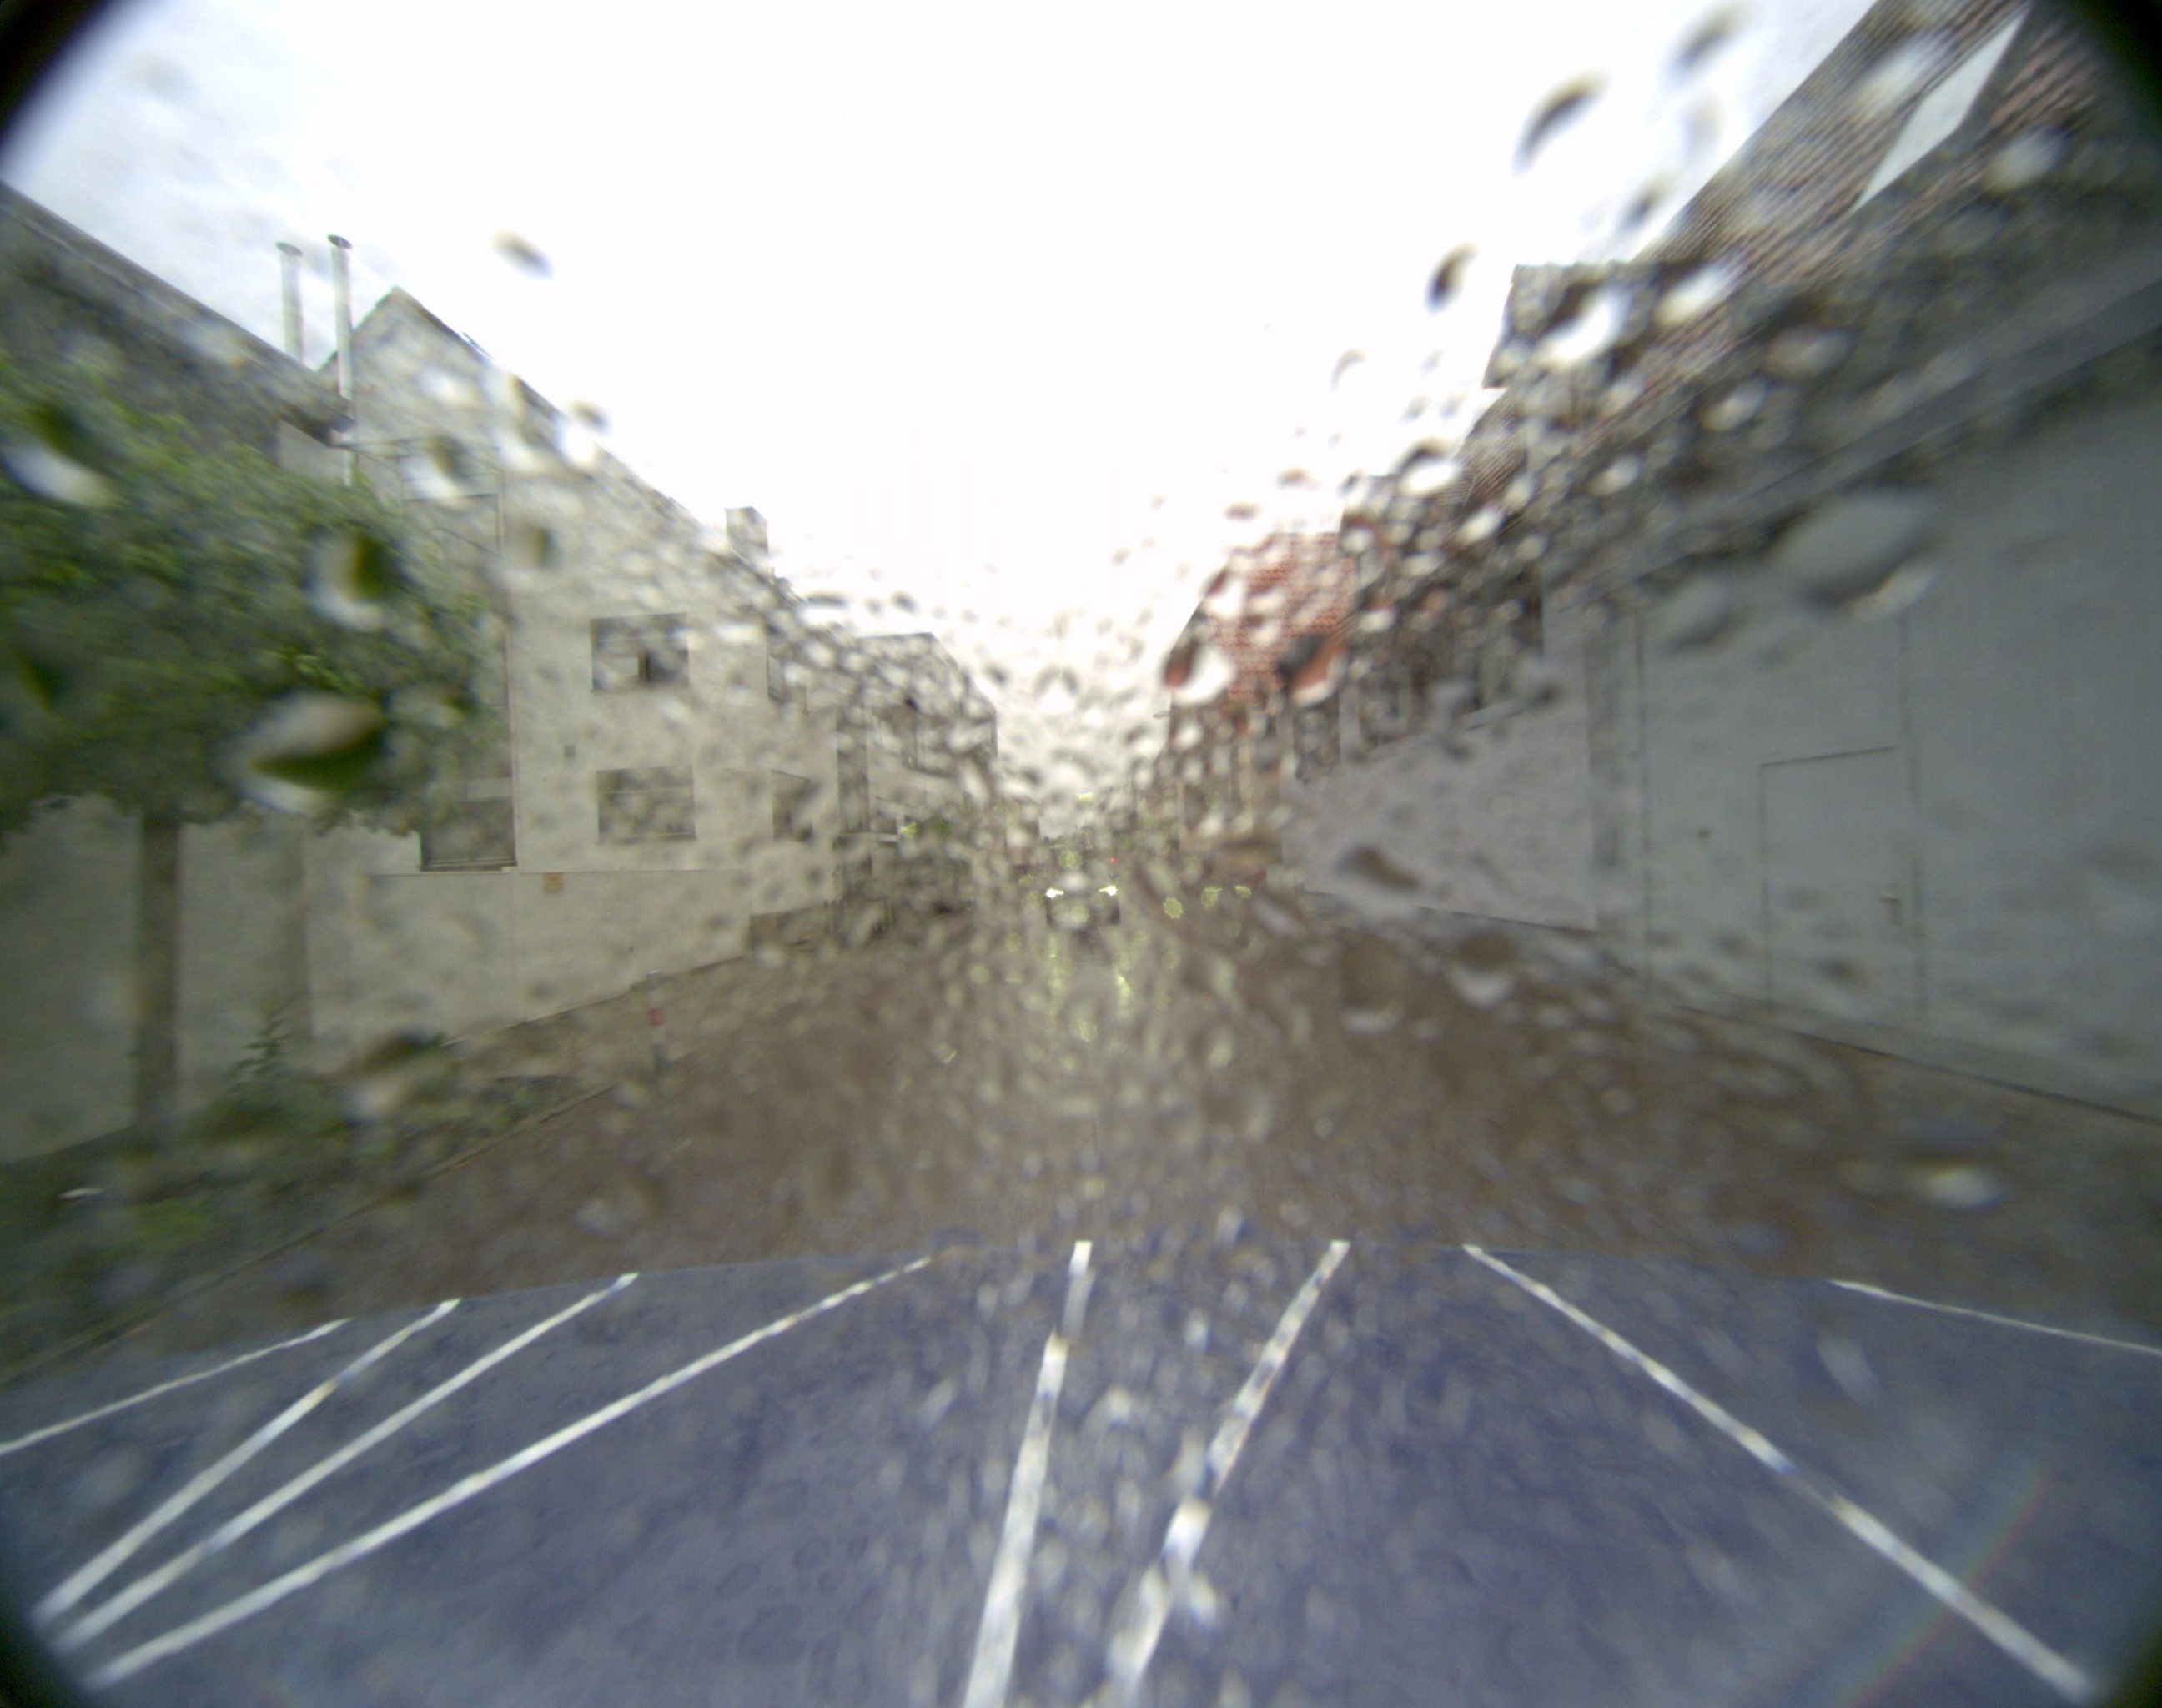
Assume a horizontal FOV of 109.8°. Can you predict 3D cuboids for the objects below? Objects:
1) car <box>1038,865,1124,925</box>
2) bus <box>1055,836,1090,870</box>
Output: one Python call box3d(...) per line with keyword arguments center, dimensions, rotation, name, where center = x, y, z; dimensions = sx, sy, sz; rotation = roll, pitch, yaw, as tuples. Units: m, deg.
box3d(center=(0.109, 0.975, 19.533), dimensions=(1.800, 1.341, 3.740), rotation=(0, 0, 6), name="car")
box3d(center=(-1.151, -0.096, 89.926), dimensions=(2.894, 3.589, 11.974), rotation=(-3, 0, -6), name="bus")
